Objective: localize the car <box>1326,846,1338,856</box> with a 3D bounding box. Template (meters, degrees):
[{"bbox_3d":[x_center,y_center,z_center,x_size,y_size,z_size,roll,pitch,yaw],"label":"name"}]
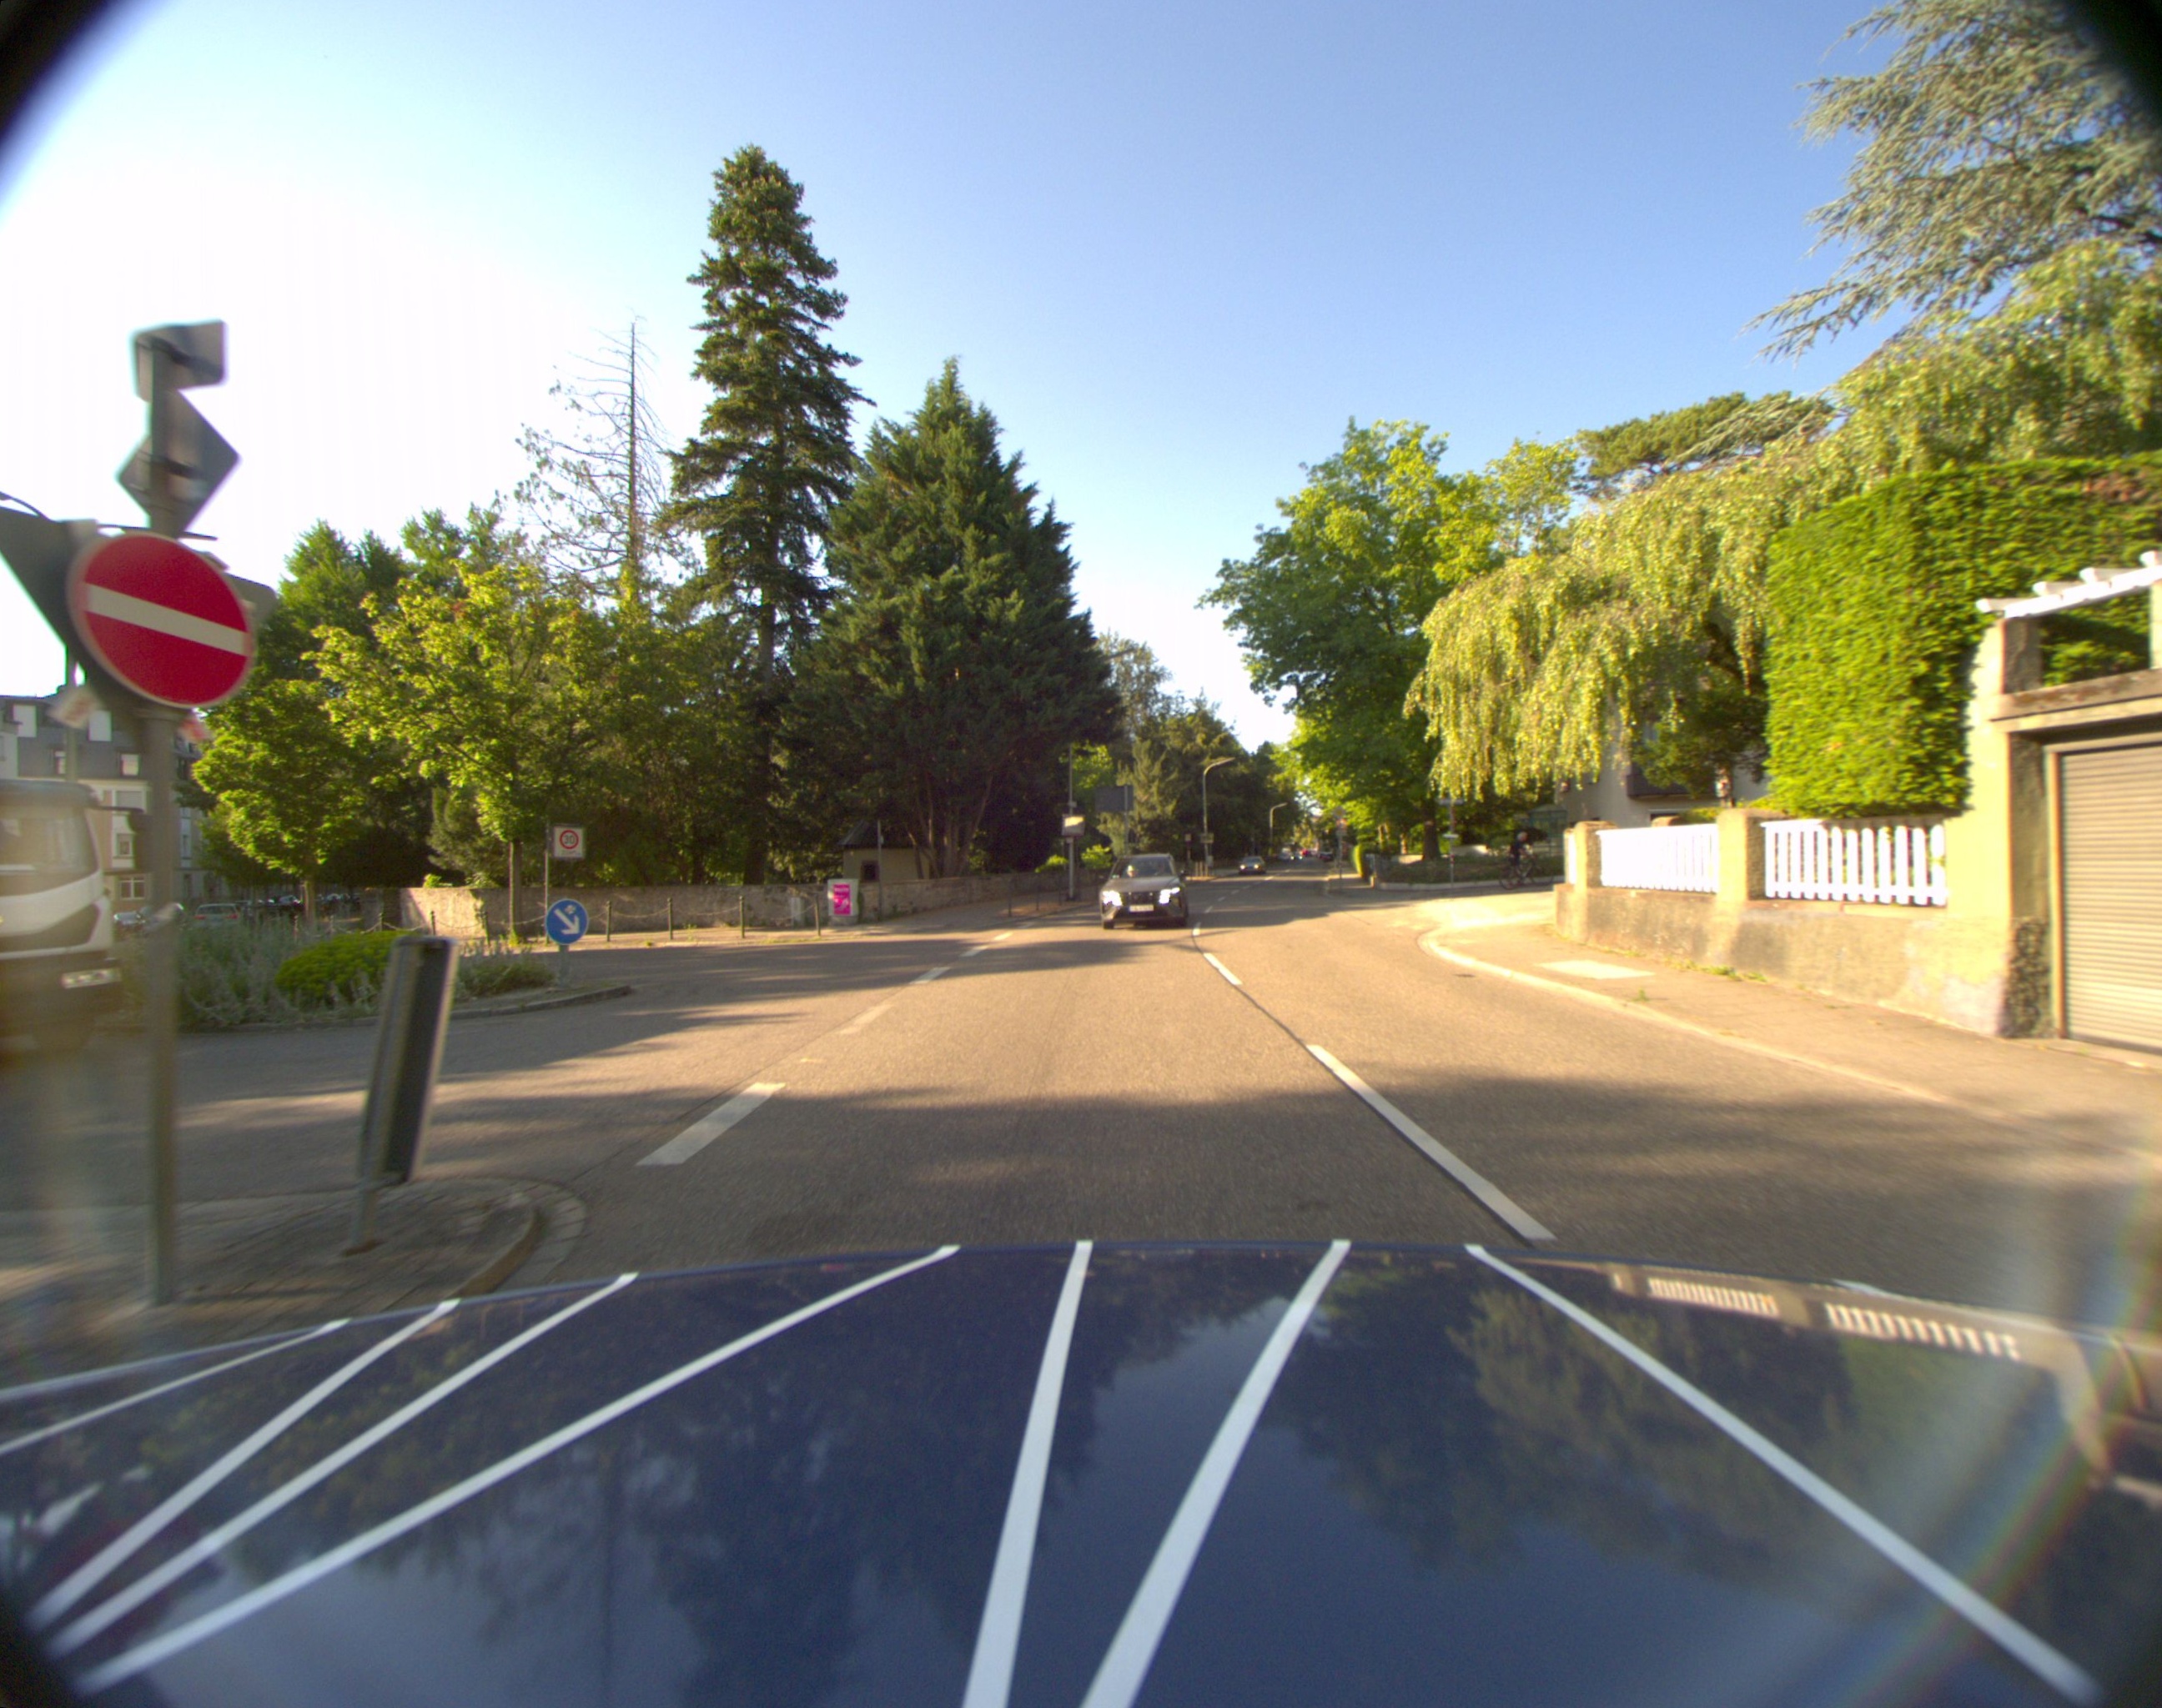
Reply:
[{"bbox_3d":[39.018,-0.531,118.108,1.688,1.425,3.620,-5,-1,17],"label":"car"}]

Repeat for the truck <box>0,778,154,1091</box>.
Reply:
[{"bbox_3d":[-13.139,0.905,7.892,6.594,2.878,2.437,-3,0,21],"label":"truck"}]

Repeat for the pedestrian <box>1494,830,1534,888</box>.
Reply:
[{"bbox_3d":[14.065,0.158,24.685,0.944,1.815,0.554,-3,-1,-20],"label":"pedestrian"}]

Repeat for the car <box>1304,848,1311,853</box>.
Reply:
[{"bbox_3d":[67.724,-0.950,226.901,1.821,1.375,3.939,2,2,14],"label":"car"}]

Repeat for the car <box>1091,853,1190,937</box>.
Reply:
[{"bbox_3d":[1.526,0.849,17.782,1.935,1.676,4.435,-1,0,9],"label":"car"}]

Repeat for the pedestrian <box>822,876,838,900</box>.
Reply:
[{"bbox_3d":[-16.854,2.279,51.016,0.759,1.608,0.567,-3,0,43],"label":"pedestrian"}]

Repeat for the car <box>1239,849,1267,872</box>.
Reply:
[{"bbox_3d":[13.711,0.508,60.755,1.997,1.630,4.003,-4,0,12],"label":"car"}]

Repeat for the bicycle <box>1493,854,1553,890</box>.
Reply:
[{"bbox_3d":[14.234,0.569,24.467,1.819,1.036,0.561,-3,-1,-19],"label":"bicycle"}]

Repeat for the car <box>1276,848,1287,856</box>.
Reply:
[{"bbox_3d":[36.610,-0.359,138.577,1.821,1.375,3.939,2,2,14],"label":"car"}]

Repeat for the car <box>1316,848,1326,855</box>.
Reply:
[{"bbox_3d":[54.661,-0.562,172.931,1.821,1.375,3.939,2,2,14],"label":"car"}]

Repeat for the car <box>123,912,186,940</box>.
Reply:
[{"bbox_3d":[-57.837,4.478,47.490,1.758,1.402,3.589,-2,0,-39],"label":"car"}]

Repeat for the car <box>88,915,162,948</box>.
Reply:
[{"bbox_3d":[-50.335,4.046,40.073,1.758,1.402,3.589,-2,0,-41],"label":"car"}]

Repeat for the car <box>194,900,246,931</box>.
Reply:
[{"bbox_3d":[-48.390,3.421,42.740,3.904,1.514,1.842,-3,0,42],"label":"car"}]

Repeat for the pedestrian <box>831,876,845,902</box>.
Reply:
[{"bbox_3d":[-16.574,2.410,51.793,0.590,1.719,0.599,-4,0,18],"label":"pedestrian"}]

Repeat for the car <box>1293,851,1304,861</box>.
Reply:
[{"bbox_3d":[44.303,0.381,154.983,1.996,2.002,4.004,-2,0,15],"label":"car"}]
